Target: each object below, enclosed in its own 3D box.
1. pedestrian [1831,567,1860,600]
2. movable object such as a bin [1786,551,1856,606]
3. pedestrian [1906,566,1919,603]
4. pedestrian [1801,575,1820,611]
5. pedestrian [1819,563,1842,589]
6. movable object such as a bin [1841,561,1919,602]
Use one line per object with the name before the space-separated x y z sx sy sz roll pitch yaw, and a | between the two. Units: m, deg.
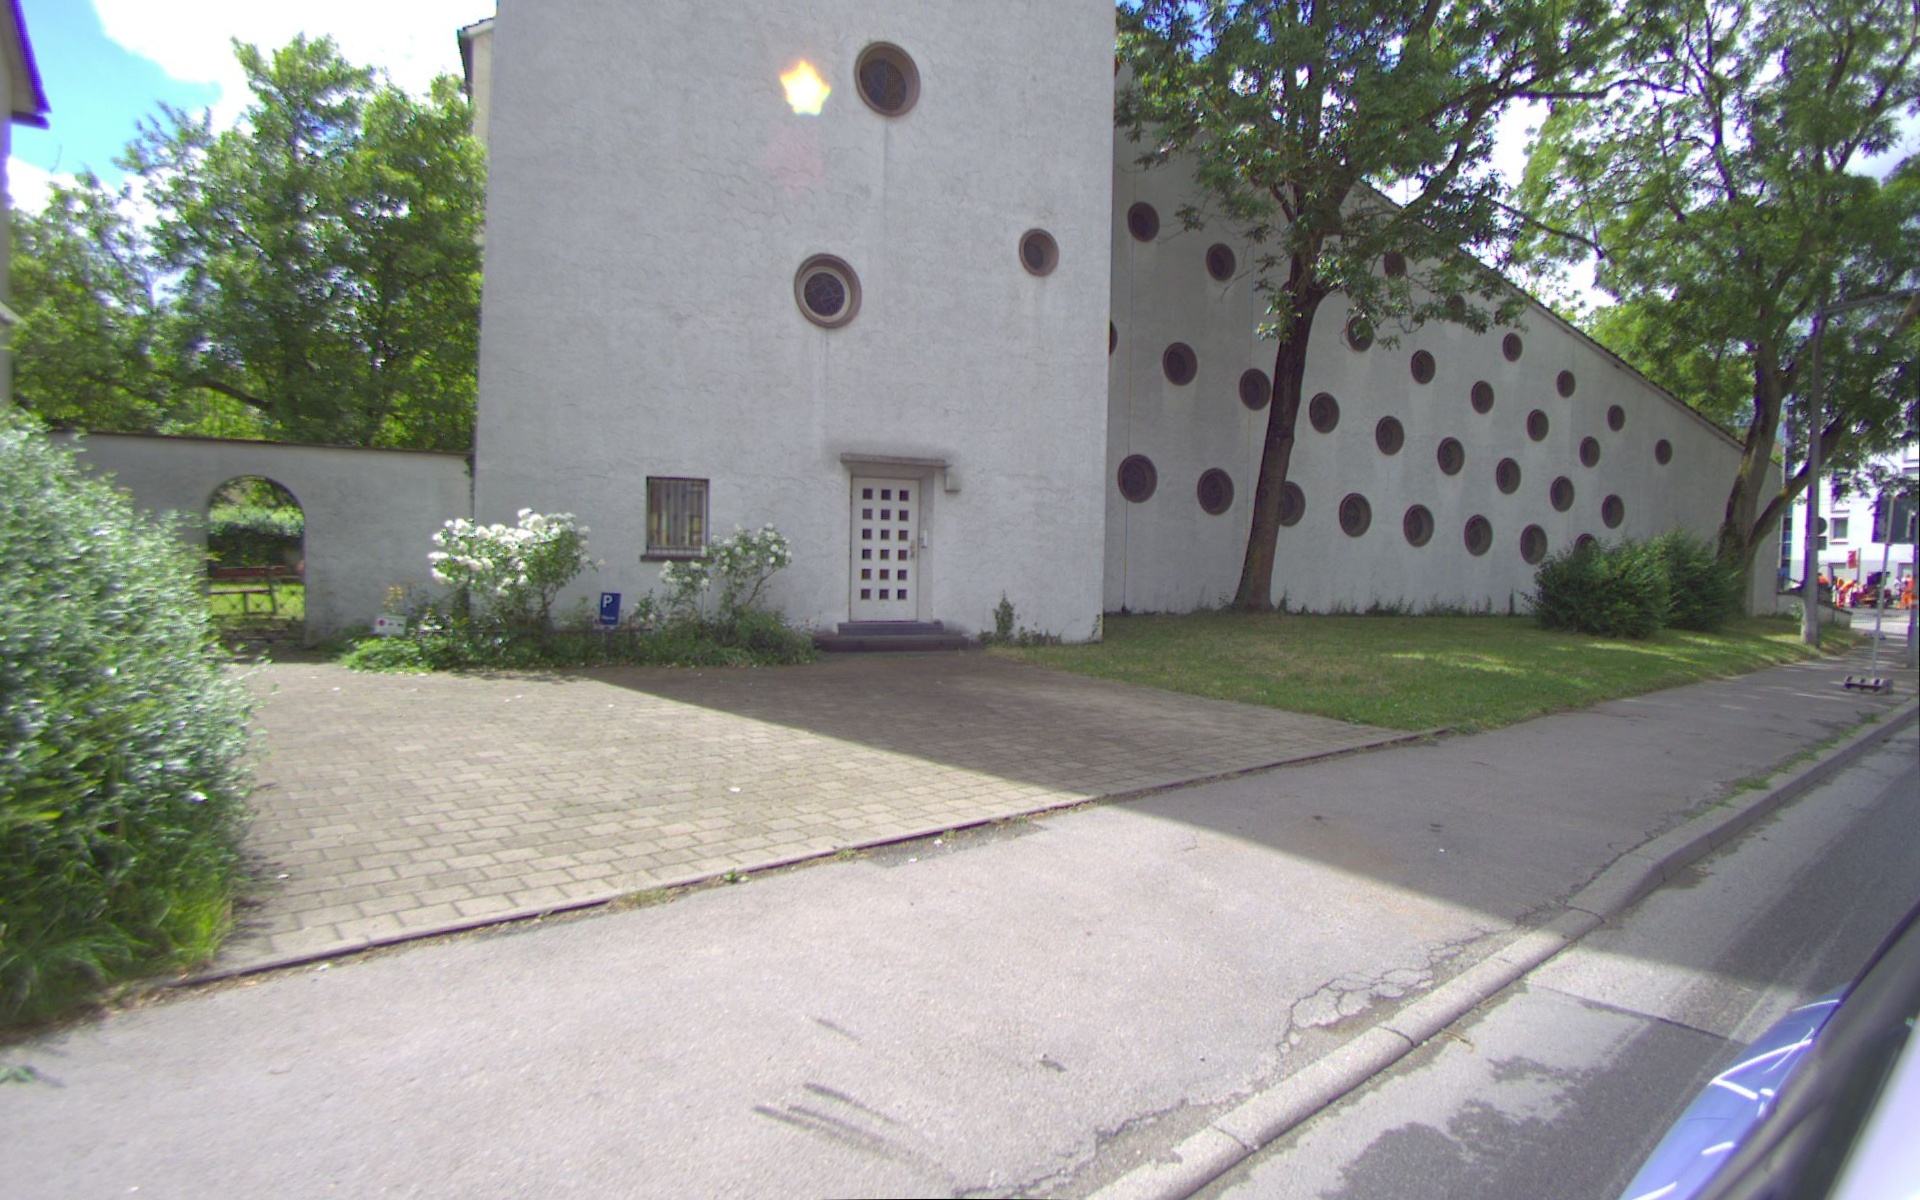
pedestrian | 47.922 -0.895 54.766 0.738 1.737 0.920 0 1 -7
movable object such as a bin | 41.843 -1.071 49.245 1.295 2.625 2.364 0 2 -2
pedestrian | 48.661 -0.765 51.255 0.767 1.862 0.770 1 2 -15
pedestrian | 41.618 -0.339 49.532 0.461 1.702 0.560 -1 2 -10
pedestrian | 41.662 -1.155 48.447 0.540 1.231 0.618 1 2 -2
movable object such as a bin | 48.185 -0.996 52.657 1.960 2.038 2.971 1 2 -4
